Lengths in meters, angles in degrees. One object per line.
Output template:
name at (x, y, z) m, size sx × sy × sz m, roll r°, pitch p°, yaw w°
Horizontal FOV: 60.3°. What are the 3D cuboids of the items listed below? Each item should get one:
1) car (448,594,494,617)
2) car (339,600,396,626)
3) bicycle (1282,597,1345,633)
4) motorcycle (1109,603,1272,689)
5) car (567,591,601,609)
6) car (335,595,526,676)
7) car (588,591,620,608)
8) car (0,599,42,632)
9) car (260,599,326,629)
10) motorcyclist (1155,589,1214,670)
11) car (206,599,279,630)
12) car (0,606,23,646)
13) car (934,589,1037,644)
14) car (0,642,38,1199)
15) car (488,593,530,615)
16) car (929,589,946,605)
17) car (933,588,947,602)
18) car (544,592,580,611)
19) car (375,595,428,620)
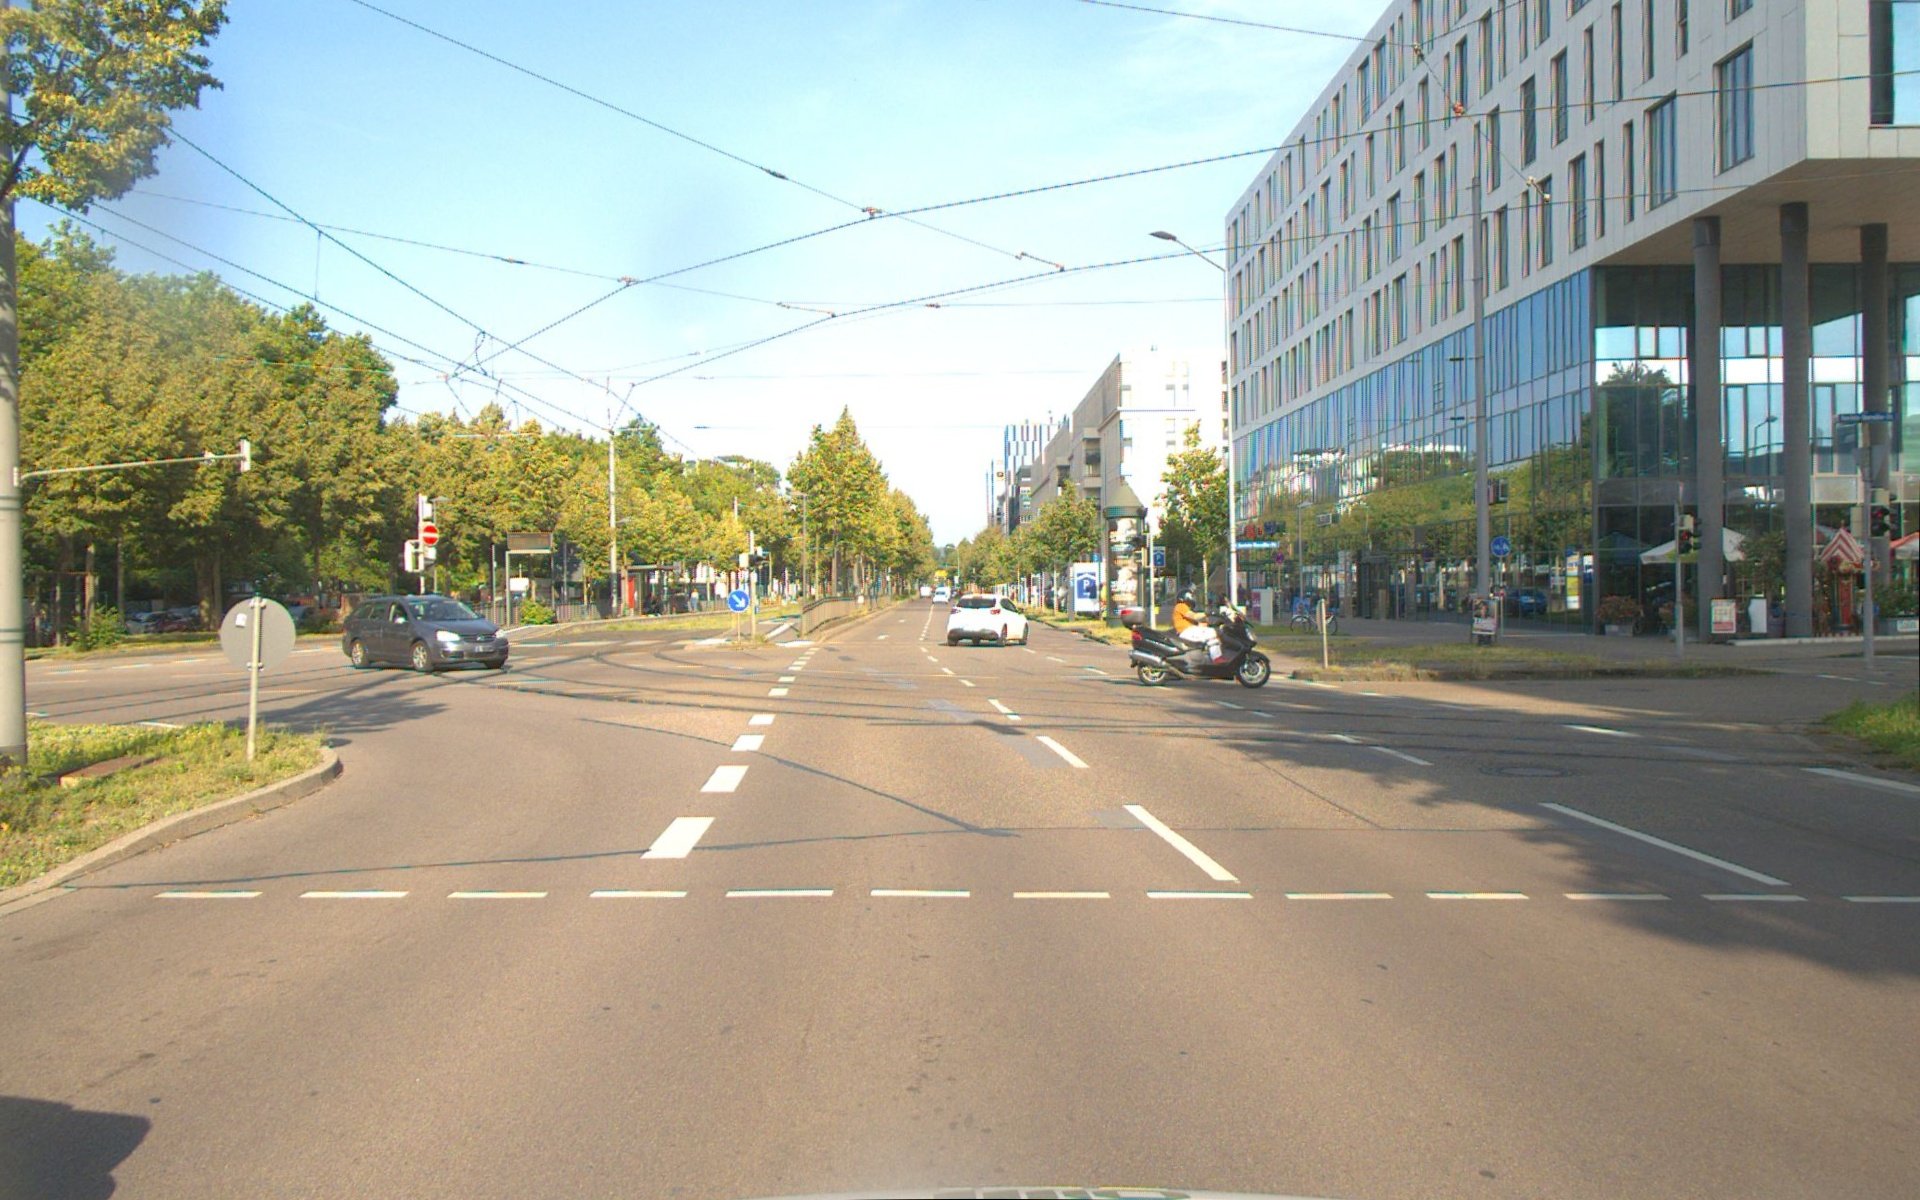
car at (-35.627, 0.400, 120.622) m, size 1.841 × 1.586 × 4.002 m, roll -1°, pitch 0°, yaw 4°
car at (-36.887, 0.793, 103.042) m, size 1.841 × 1.586 × 4.002 m, roll -1°, pitch 0°, yaw 4°
bicycle at (11.357, 0.467, 53.142) m, size 0.768 × 1.050 × 1.848 m, roll -1°, pitch 3°, yaw -44°
motorcycle at (3.638, 0.709, 26.046) m, size 2.486 × 1.285 × 0.822 m, roll 0°, pitch 0°, yaw 13°
car at (-33.862, 0.006, 148.994) m, size 1.841 × 1.586 × 4.002 m, roll -1°, pitch 0°, yaw 4°
car at (-10.648, 0.656, 33.115) m, size 4.496 × 1.487 × 1.723 m, roll 0°, pitch 1°, yaw 44°
car at (-33.420, -0.075, 155.424) m, size 1.841 × 1.586 × 4.002 m, roll -1°, pitch 0°, yaw 4°
car at (-46.665, 0.761, 80.218) m, size 1.841 × 1.586 × 4.002 m, roll -1°, pitch 0°, yaw 4°
car at (-37.714, 0.780, 93.576) m, size 1.841 × 1.586 × 4.002 m, roll -1°, pitch 0°, yaw 4°
motorcyclist at (3.544, 0.455, 26.072) m, size 0.827 × 1.224 × 0.785 m, roll 1°, pitch 1°, yaw 13°
car at (-38.133, 0.765, 87.998) m, size 1.841 × 1.586 × 4.002 m, roll -1°, pitch 0°, yaw 4°
car at (-39.336, 1.055, 65.586) m, size 1.841 × 1.586 × 4.002 m, roll -1°, pitch 0°, yaw 4°
car at (0.789, 0.461, 48.577) m, size 1.951 × 1.530 × 4.095 m, roll 1°, pitch 0°, yaw 17°
car at (-2.640, 0.796, 1.059) m, size 1.728 × 1.353 × 4.399 m, roll 0°, pitch 1°, yaw -2°
car at (-35.044, 0.298, 128.553) m, size 1.841 × 1.586 × 4.002 m, roll -1°, pitch 0°, yaw 4°
car at (-2.505, -0.323, 184.235) m, size 1.826 × 1.713 × 4.000 m, roll 1°, pitch 1°, yaw 0°
car at (-2.605, -0.668, 215.488) m, size 1.826 × 1.713 × 4.000 m, roll 1°, pitch 1°, yaw 0°
car at (-34.444, 0.081, 143.224) m, size 1.841 × 1.586 × 4.002 m, roll -1°, pitch 0°, yaw 4°
car at (-36.457, 0.469, 108.128) m, size 1.841 × 1.586 × 4.002 m, roll -1°, pitch 0°, yaw 4°
